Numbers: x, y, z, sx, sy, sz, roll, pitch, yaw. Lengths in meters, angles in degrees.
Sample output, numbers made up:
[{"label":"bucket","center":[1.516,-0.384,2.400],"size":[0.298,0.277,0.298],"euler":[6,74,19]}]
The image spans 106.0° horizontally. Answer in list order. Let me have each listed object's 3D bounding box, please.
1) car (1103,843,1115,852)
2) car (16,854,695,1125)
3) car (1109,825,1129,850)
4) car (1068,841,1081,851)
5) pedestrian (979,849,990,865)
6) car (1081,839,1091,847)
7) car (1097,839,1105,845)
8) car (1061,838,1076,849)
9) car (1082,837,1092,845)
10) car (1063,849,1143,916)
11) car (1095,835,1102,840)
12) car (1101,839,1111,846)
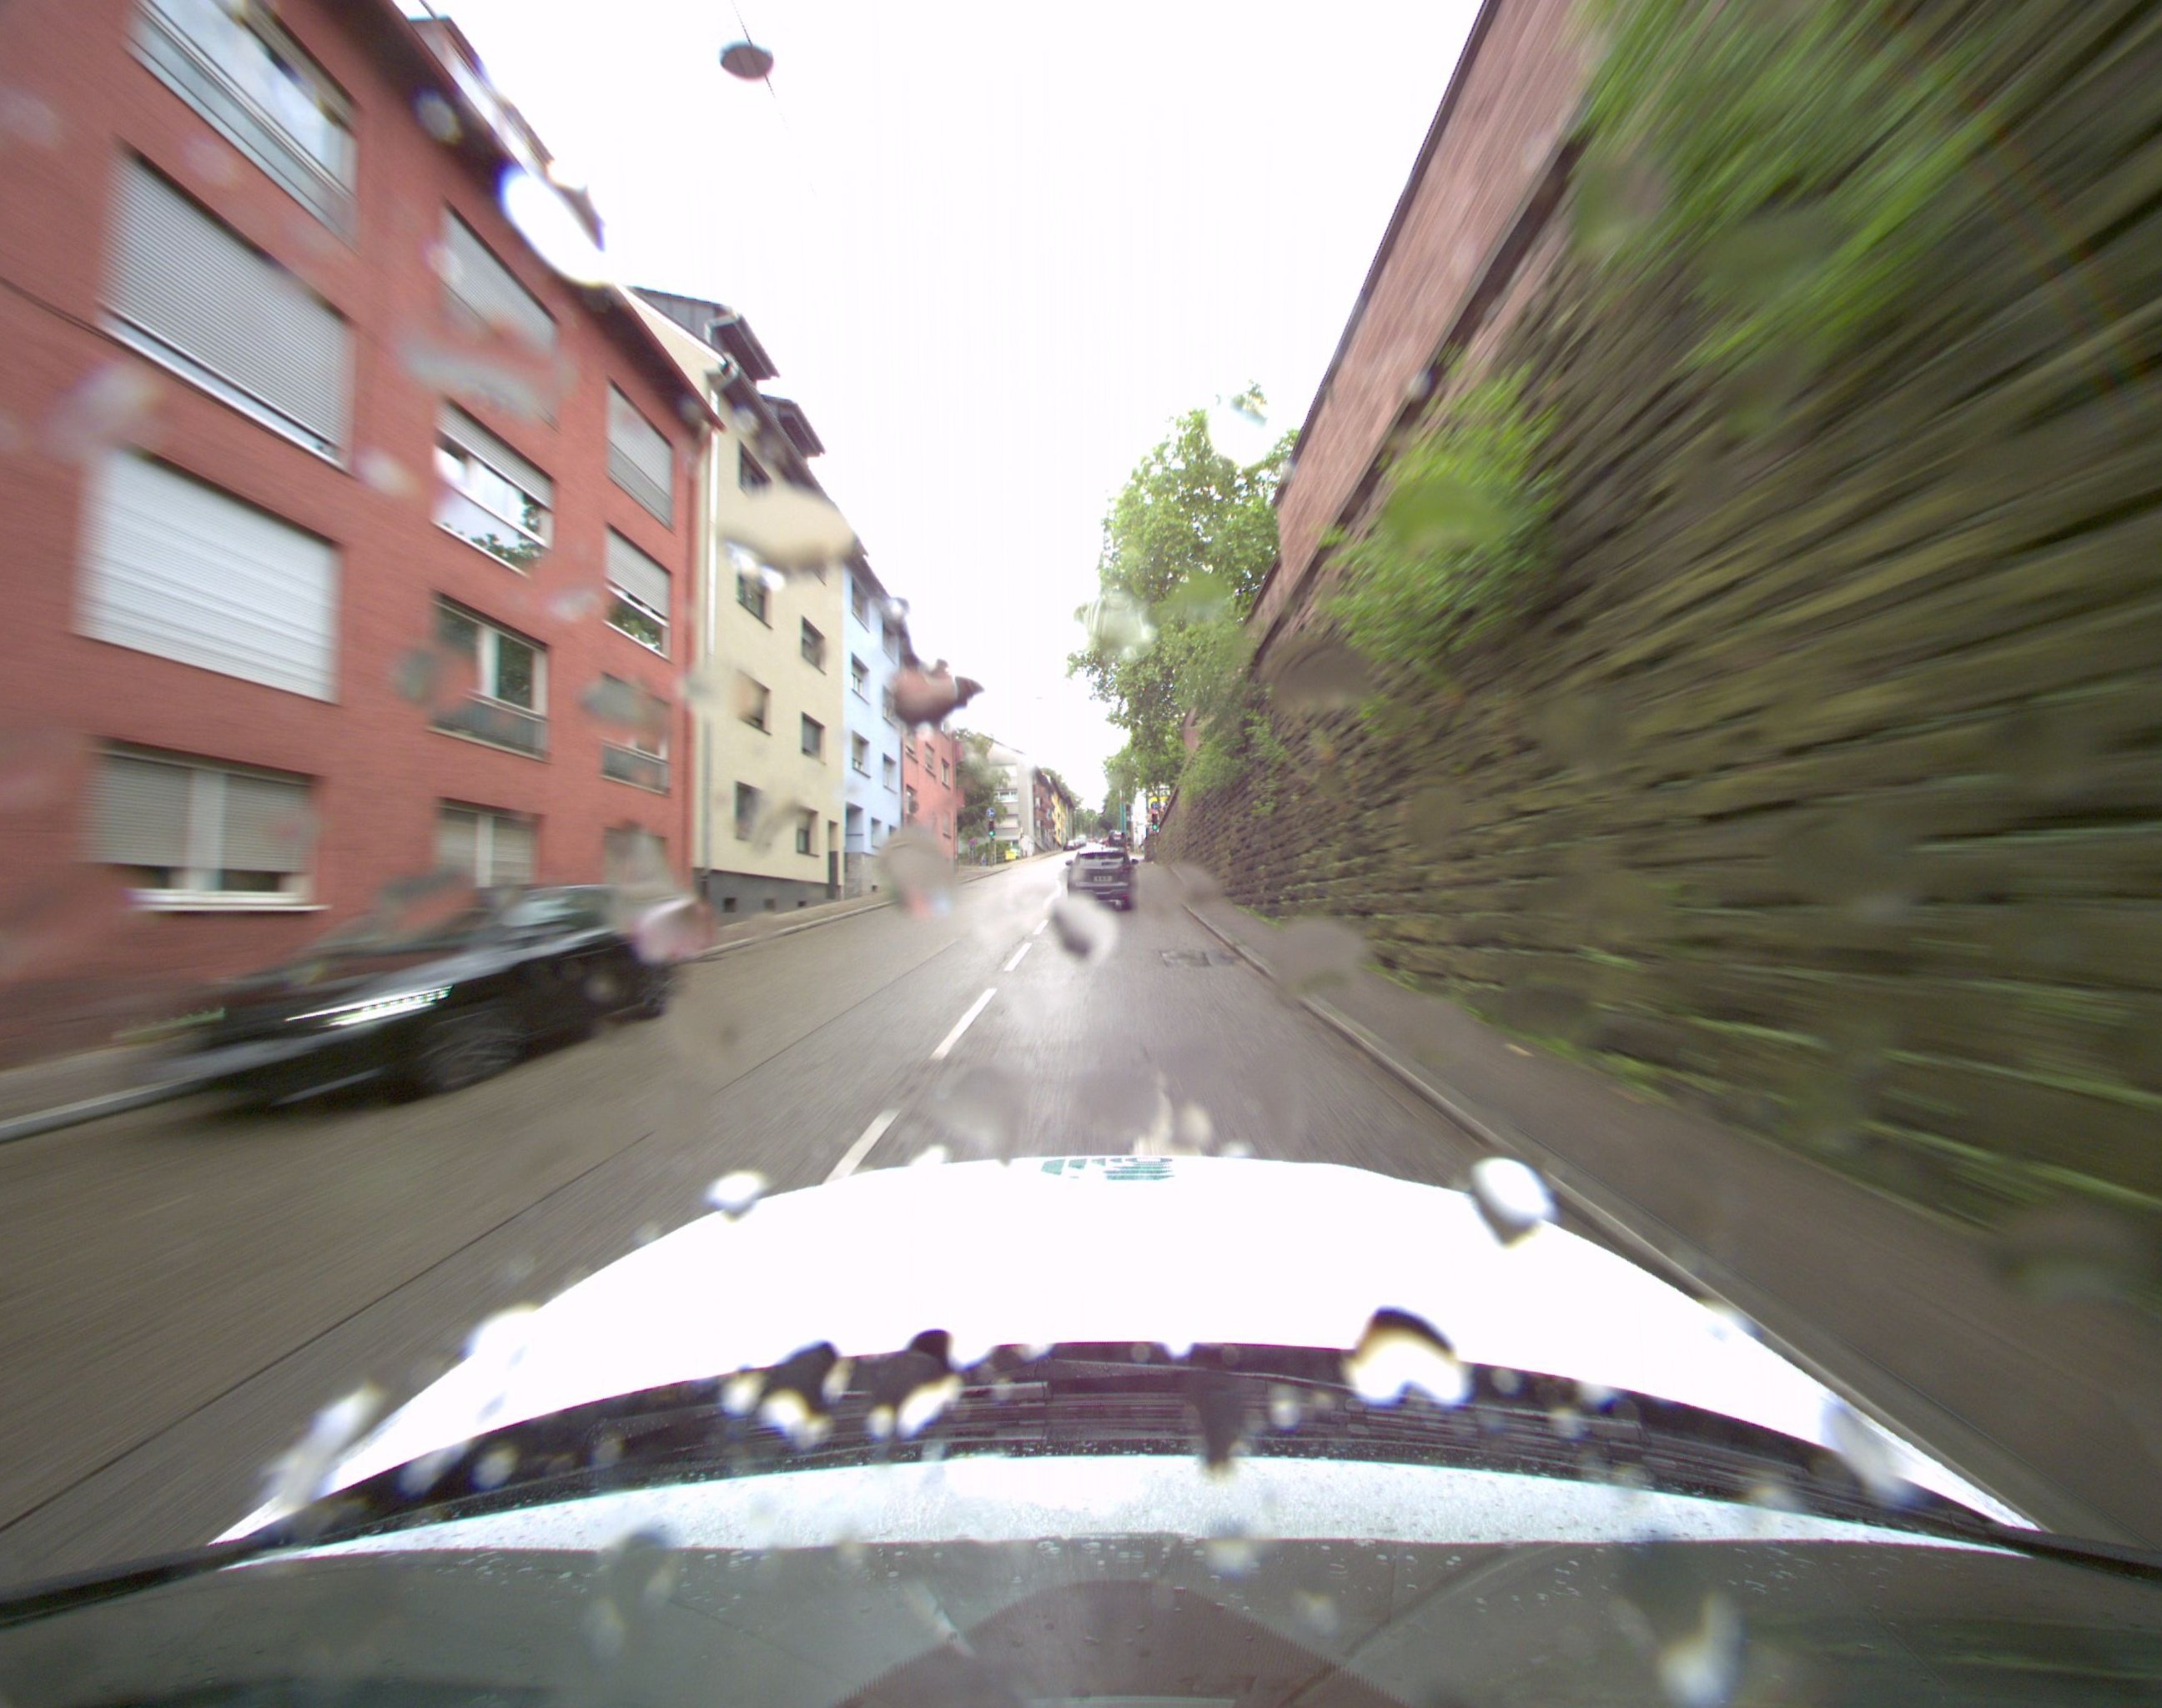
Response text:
[{"label":"car","center":[5.303,-1.222,153.904],"size":[2.068,1.559,4.000],"euler":[-1,1,0]},{"label":"car","center":[-5.319,0.835,6.891],"size":[1.986,1.478,4.002],"euler":[-4,-1,2]},{"label":"car","center":[4.003,-1.661,85.130],"size":[1.984,2.414,5.842],"euler":[-1,-1,4]},{"label":"car","center":[-1.099,-1.407,149.056],"size":[1.985,1.649,4.447],"euler":[-2,1,4]},{"label":"pedestrian","center":[-9.252,0.274,78.141],"size":[0.867,1.541,1.087],"euler":[0,-1,-2]},{"label":"car","center":[1.093,-2.442,172.850],"size":[1.983,1.585,4.306],"euler":[-2,1,1]},{"label":"car","center":[5.487,-3.278,219.641],"size":[2.067,1.559,4.001],"euler":[-1,1,1]},{"label":"car","center":[-1.991,-1.646,132.664],"size":[1.985,1.649,4.447],"euler":[-2,1,4]},{"label":"car","center":[1.337,-2.917,180.128],"size":[1.983,1.755,4.481],"euler":[-2,1,1]},{"label":"car","center":[0.613,0.690,22.242],"size":[1.986,1.559,4.002],"euler":[0,2,2]},{"label":"car","center":[5.463,-5.083,247.741],"size":[2.067,1.559,4.001],"euler":[-1,1,1]},{"label":"car","center":[5.812,-2.809,190.218],"size":[2.067,1.559,4.001],"euler":[-1,1,1]}]
